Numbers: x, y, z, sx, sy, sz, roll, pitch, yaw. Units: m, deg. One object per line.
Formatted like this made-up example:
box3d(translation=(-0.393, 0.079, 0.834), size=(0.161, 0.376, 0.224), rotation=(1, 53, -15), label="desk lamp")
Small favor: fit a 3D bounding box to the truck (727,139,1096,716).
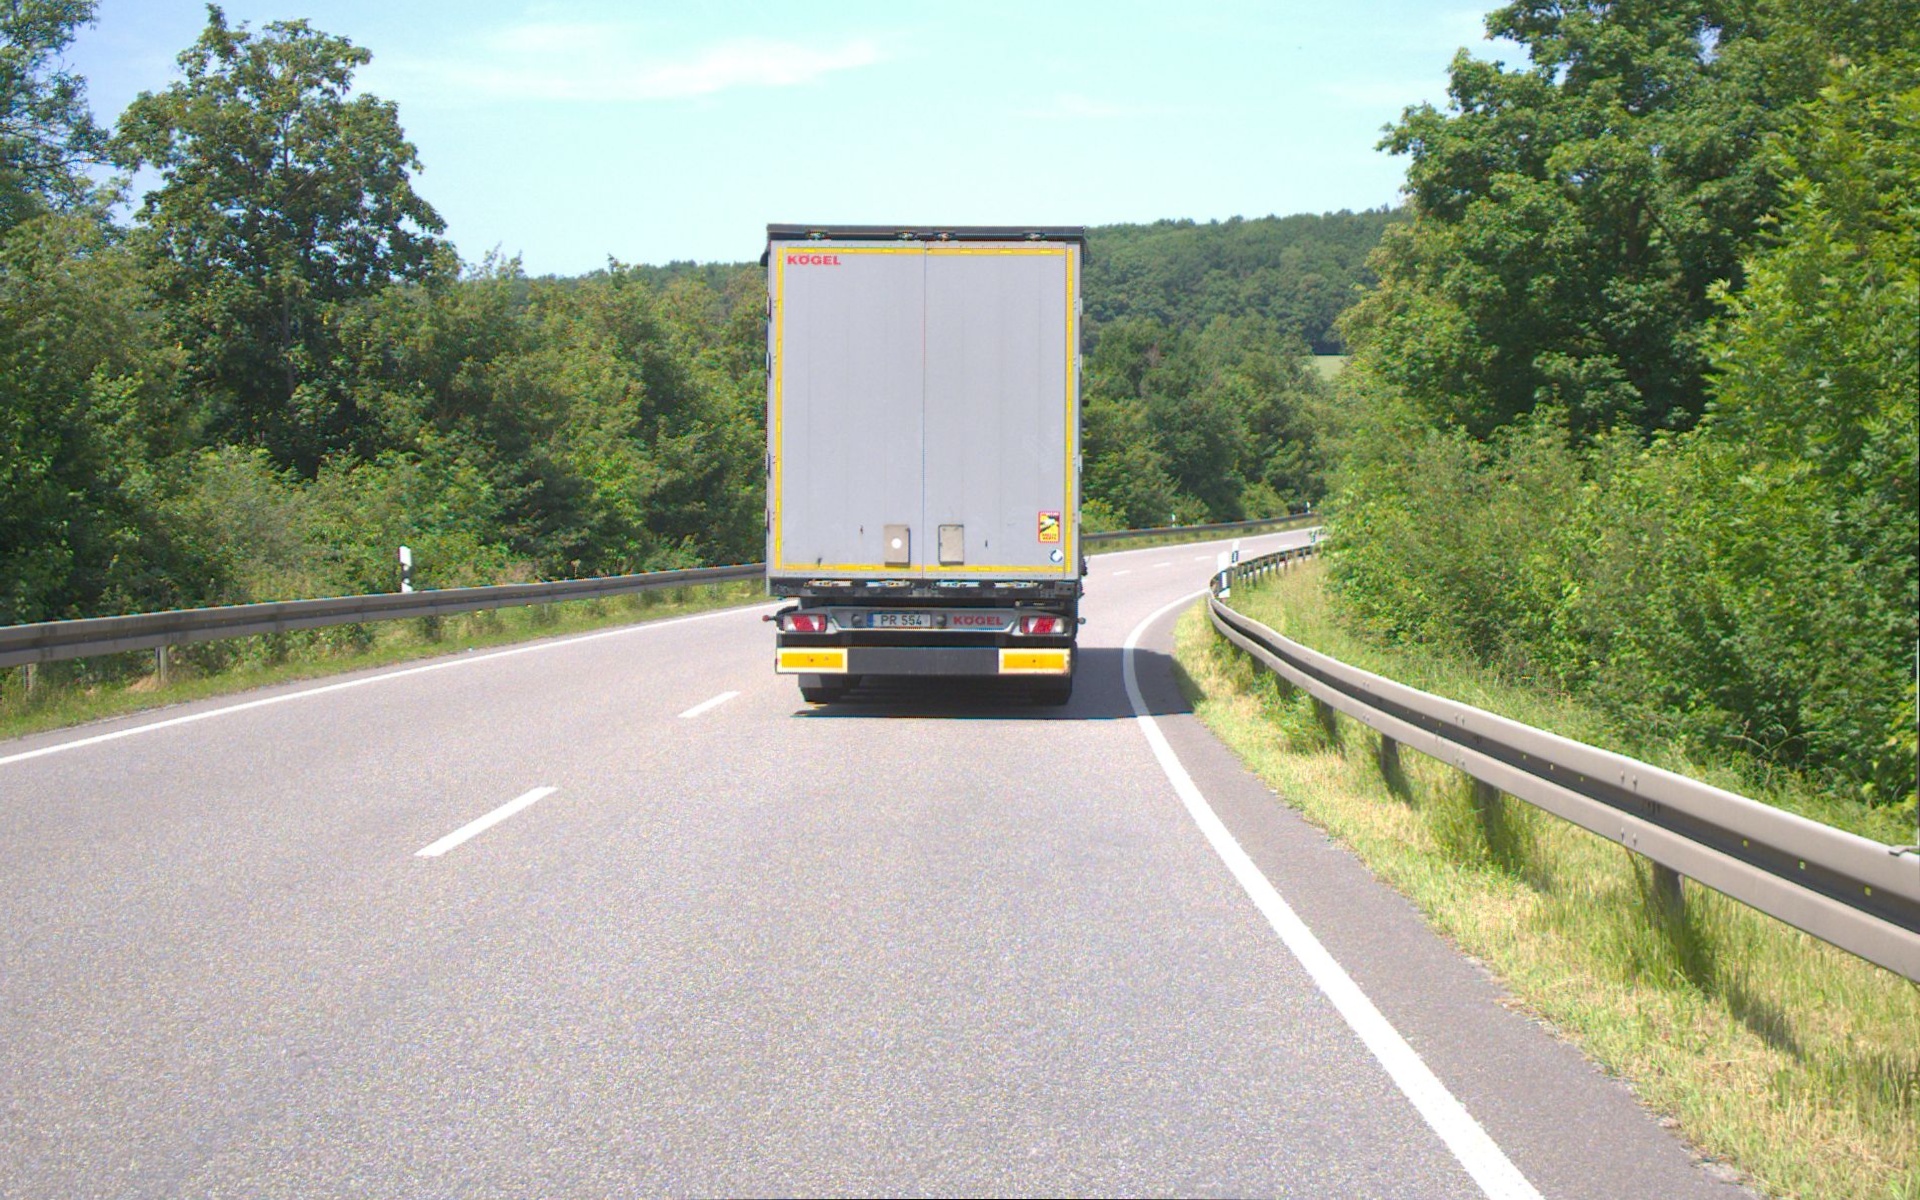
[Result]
box3d(translation=(-0.254, -1.445, 33.285), size=(2.817, 4.517, 11.767), rotation=(2, 1, 1), label="truck")
